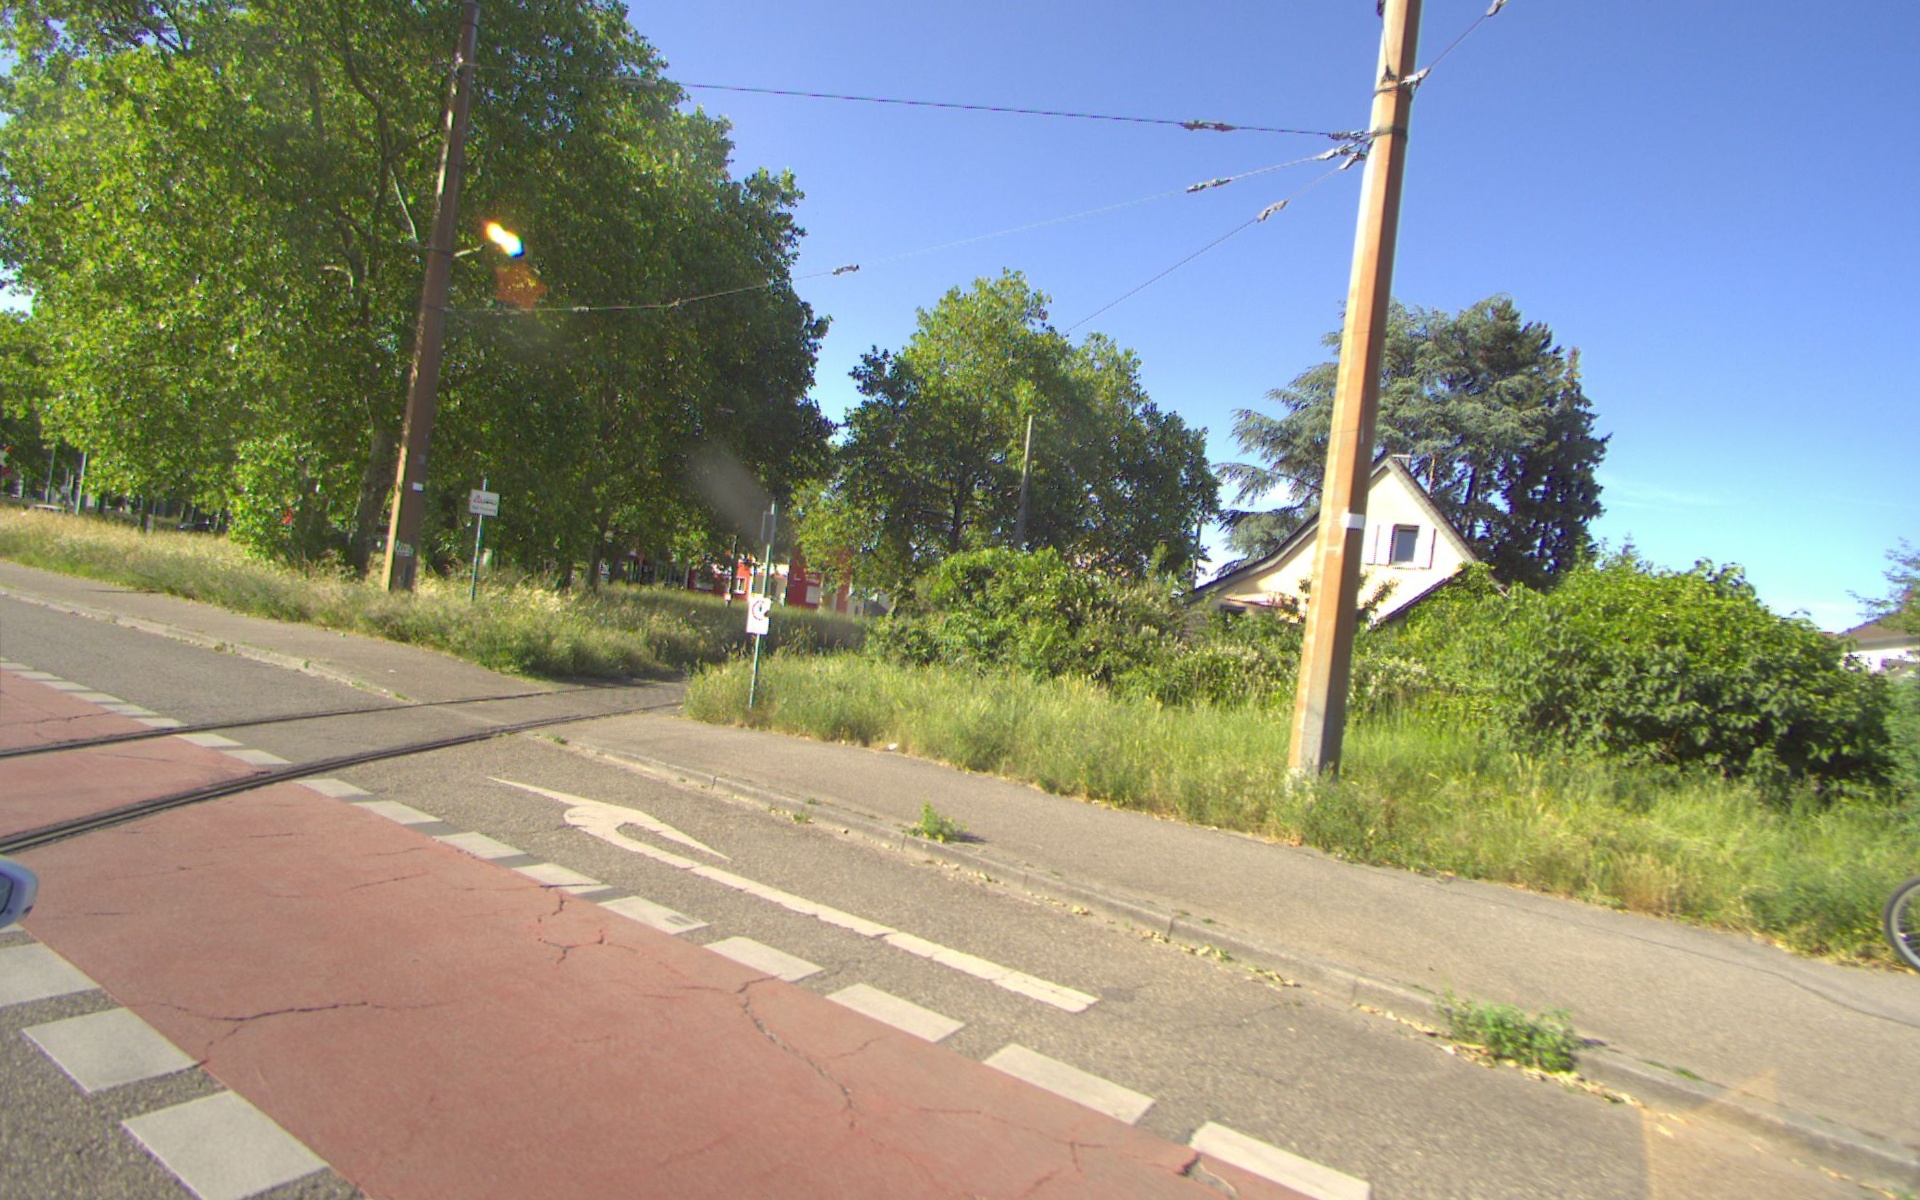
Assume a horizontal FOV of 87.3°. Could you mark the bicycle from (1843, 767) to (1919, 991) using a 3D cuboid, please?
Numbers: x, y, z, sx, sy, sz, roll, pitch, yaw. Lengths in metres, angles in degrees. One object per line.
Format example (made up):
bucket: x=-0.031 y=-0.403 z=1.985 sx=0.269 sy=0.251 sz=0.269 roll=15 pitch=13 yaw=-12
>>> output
bicycle: x=6.008 y=1.628 z=5.183 sx=2.061 sy=1.149 sz=0.365 roll=6 pitch=0 yaw=32
